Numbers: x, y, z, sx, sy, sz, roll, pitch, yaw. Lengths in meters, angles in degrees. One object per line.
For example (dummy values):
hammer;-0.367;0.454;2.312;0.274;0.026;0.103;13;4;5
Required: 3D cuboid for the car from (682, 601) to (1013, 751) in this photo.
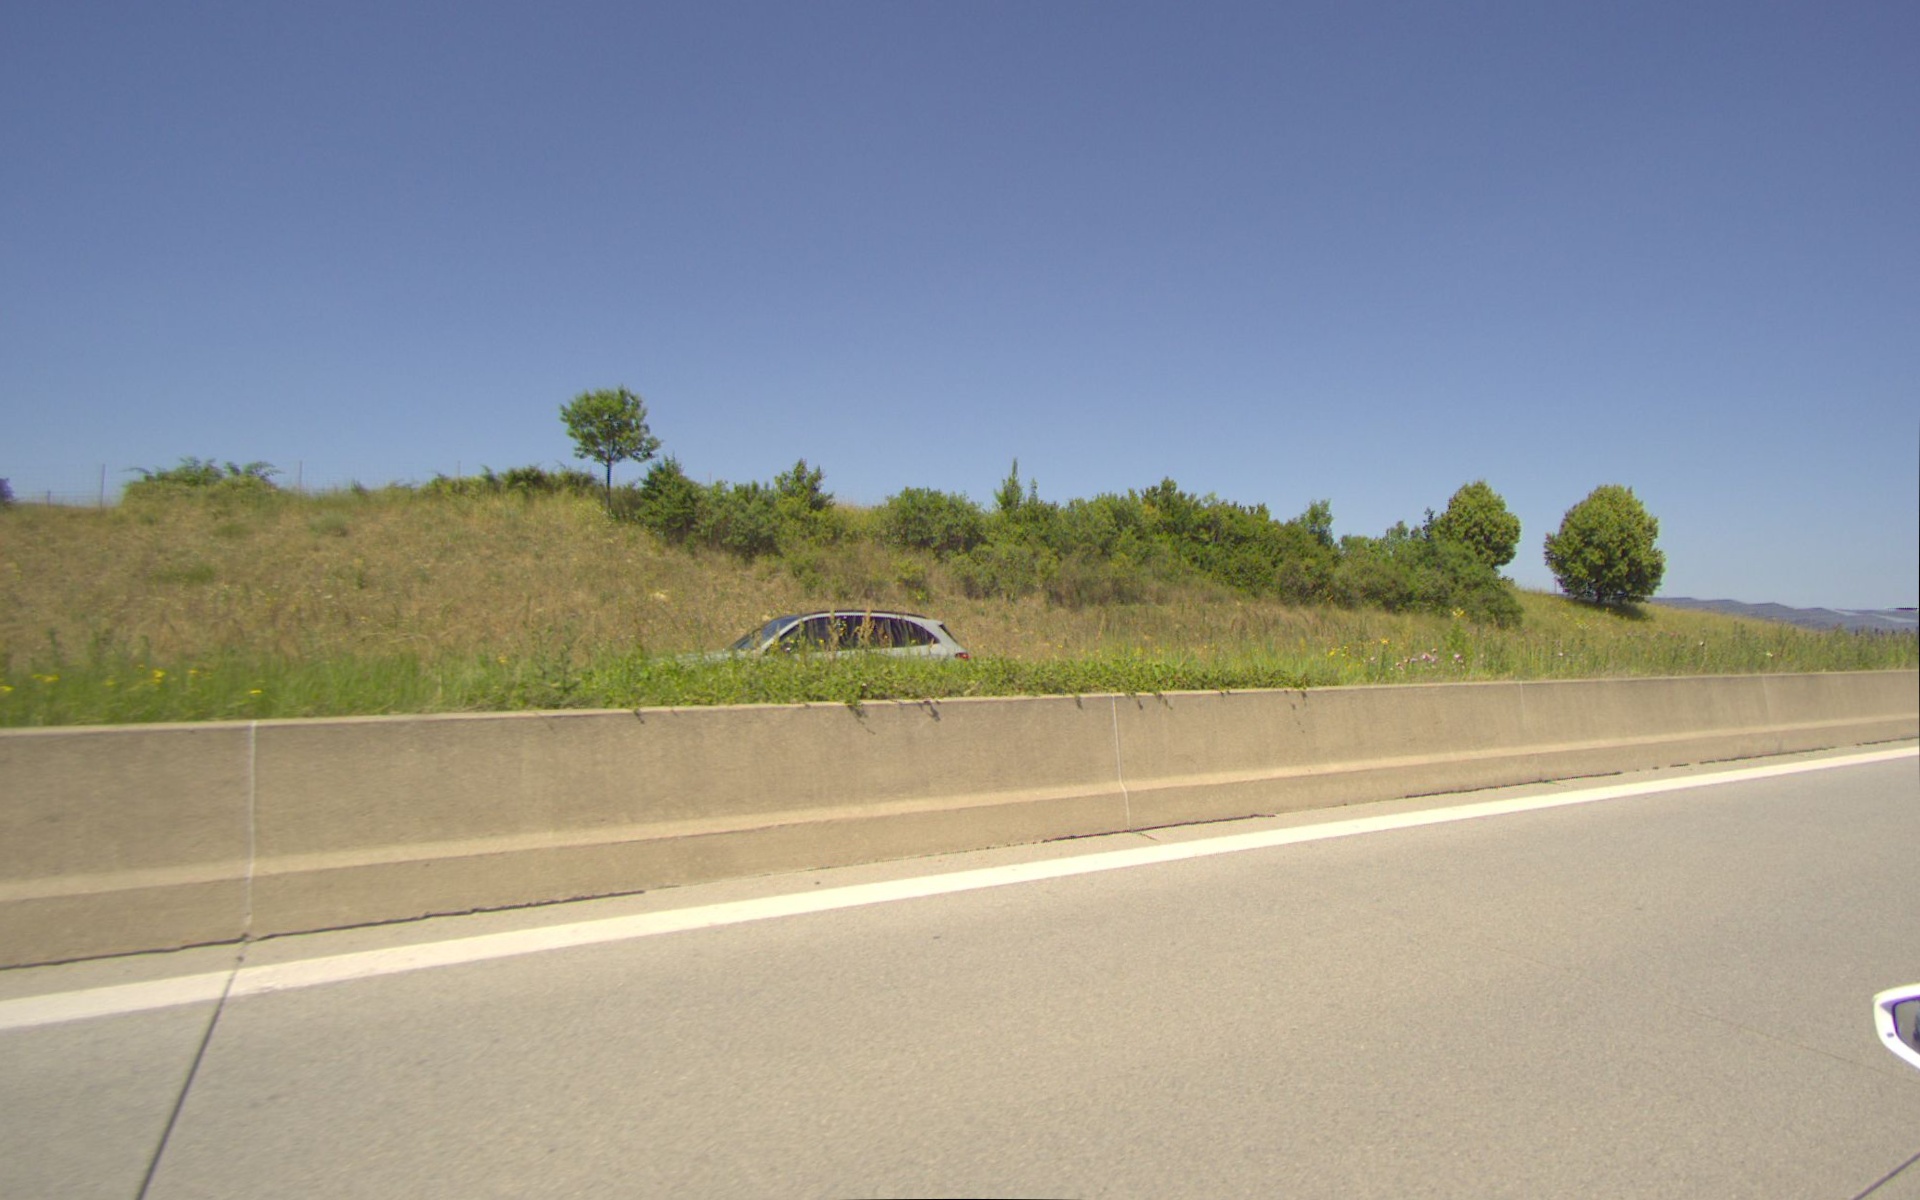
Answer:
car;-1.438;0.926;13.189;3.953;1.692;1.702;2;0;-30
